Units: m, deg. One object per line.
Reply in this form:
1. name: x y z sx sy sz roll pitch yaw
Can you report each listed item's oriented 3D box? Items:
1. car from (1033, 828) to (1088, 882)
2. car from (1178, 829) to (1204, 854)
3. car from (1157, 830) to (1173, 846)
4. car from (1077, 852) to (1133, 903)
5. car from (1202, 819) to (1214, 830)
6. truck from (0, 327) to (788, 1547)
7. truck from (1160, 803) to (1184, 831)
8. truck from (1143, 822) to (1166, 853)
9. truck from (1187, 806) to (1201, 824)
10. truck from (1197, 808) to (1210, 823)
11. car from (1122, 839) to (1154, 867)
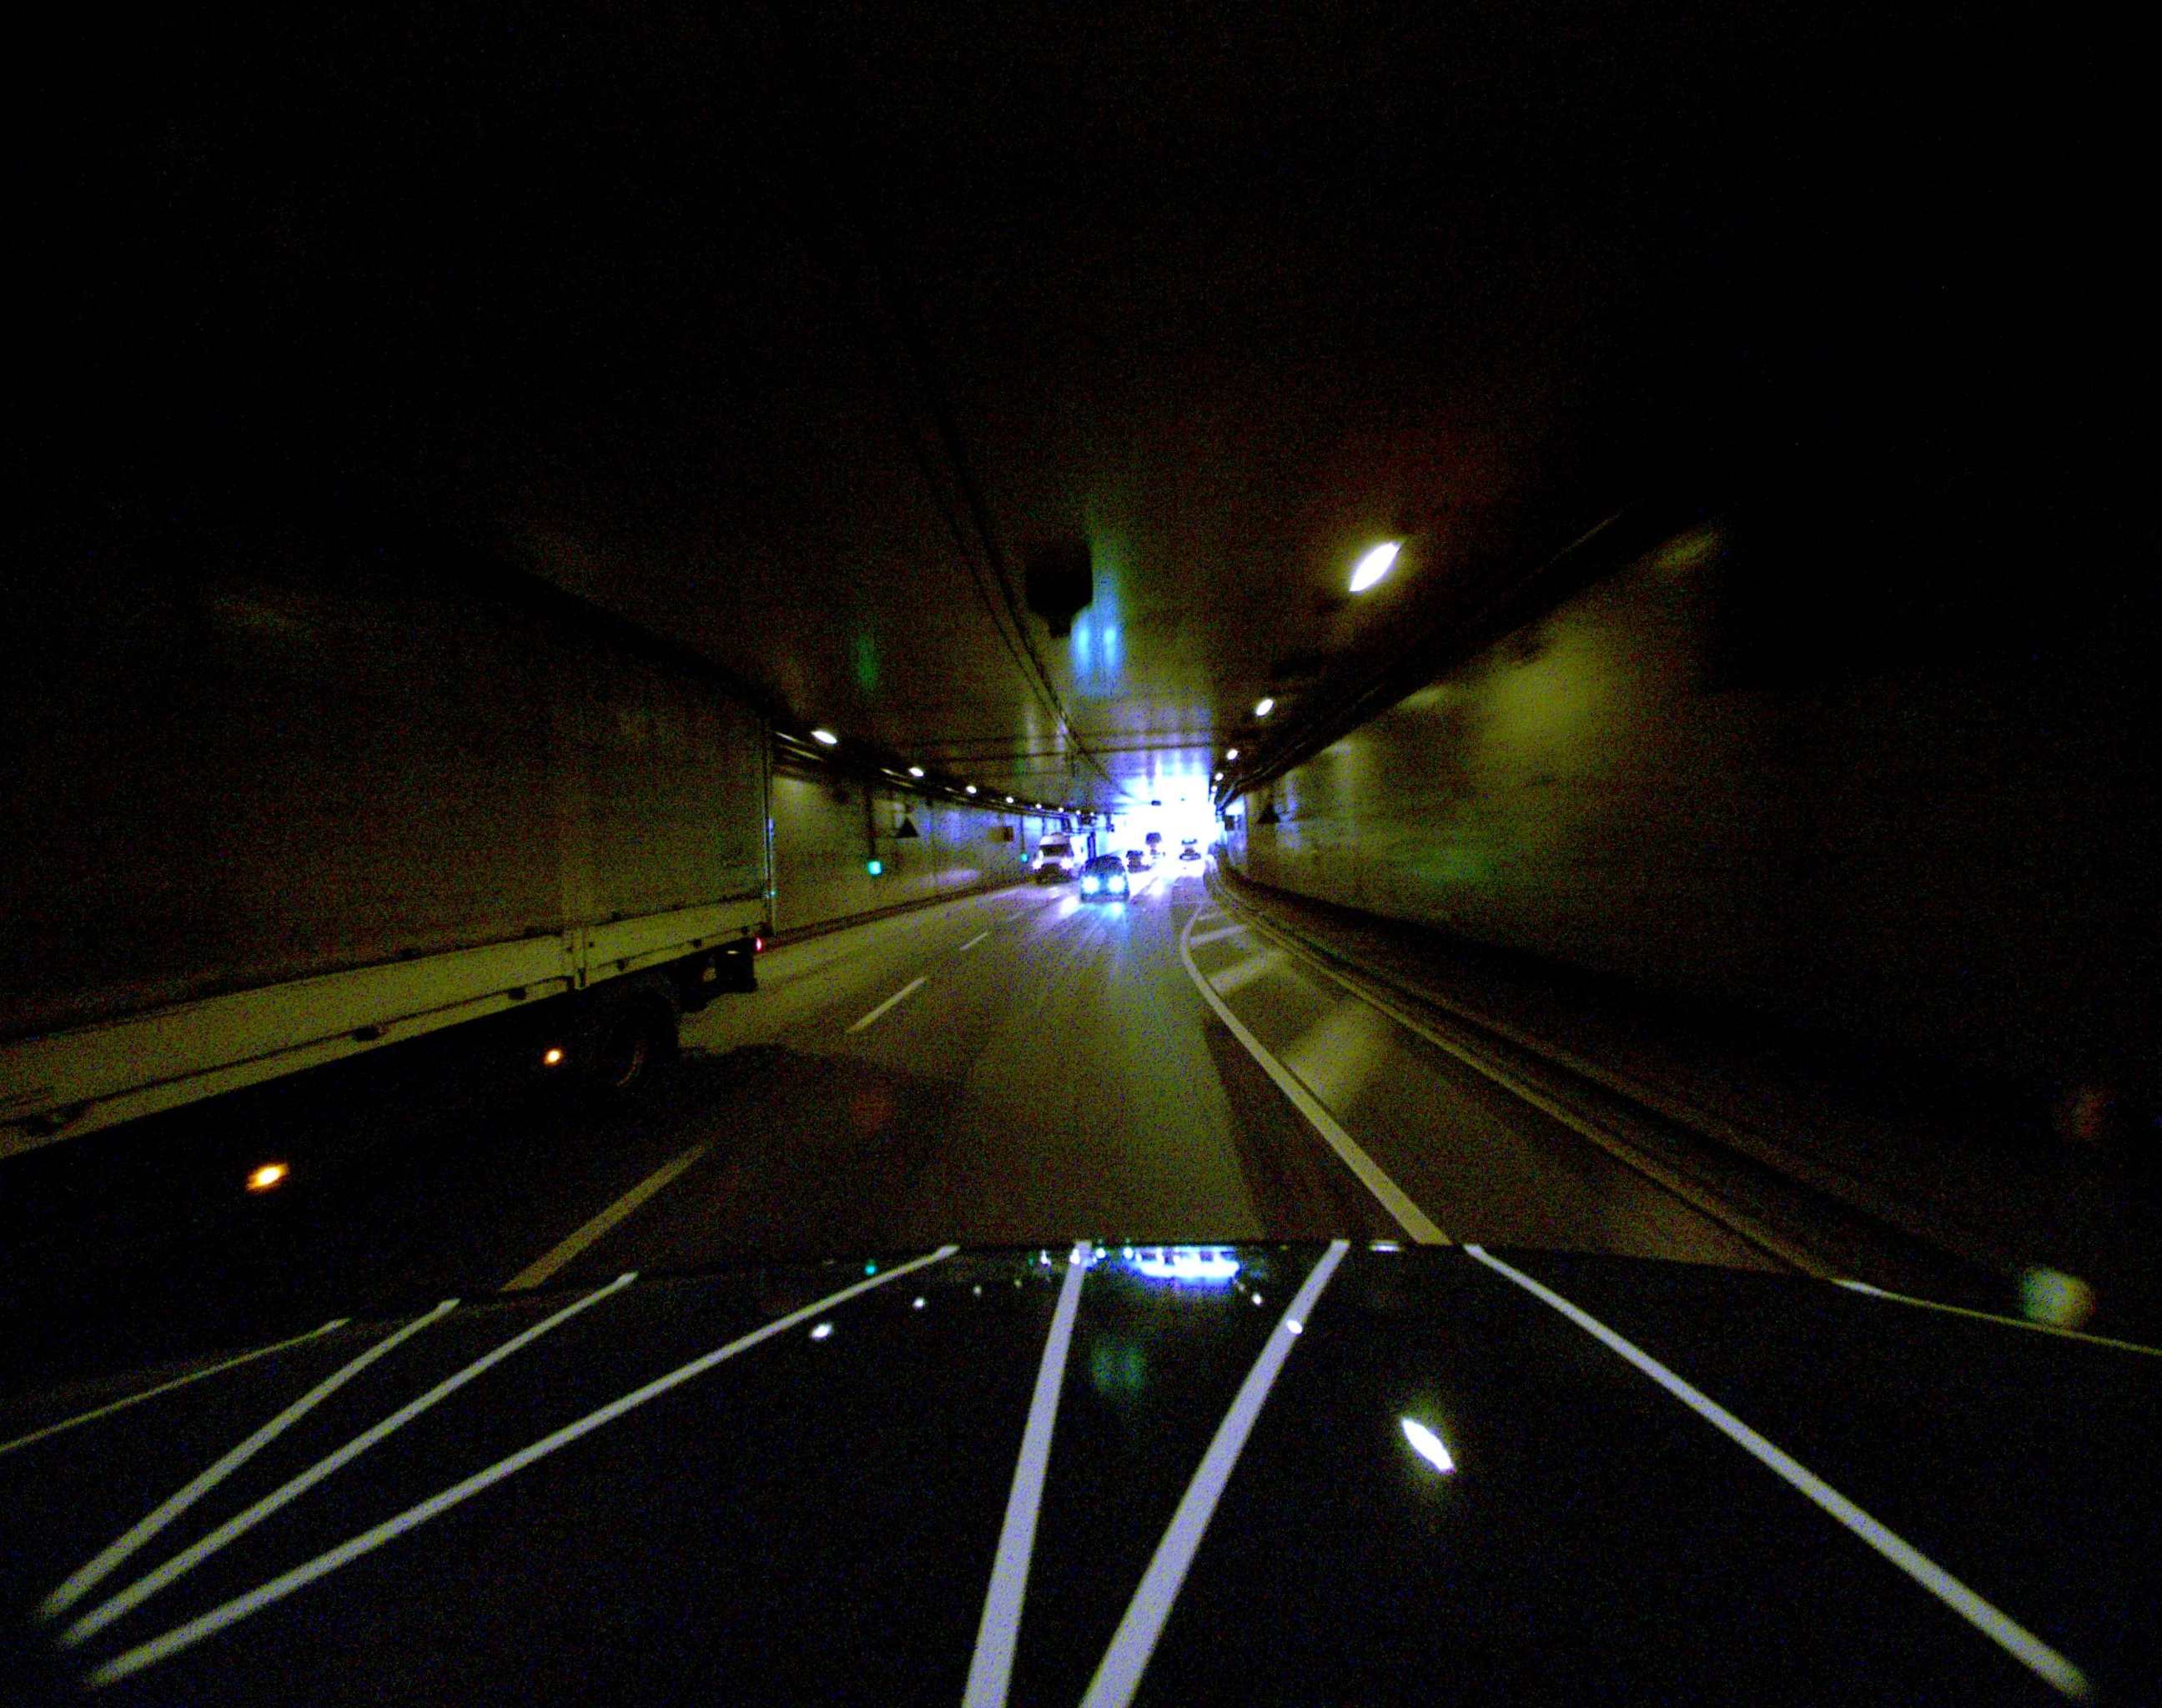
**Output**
1. car: -1.061 -0.062 44.250 2.105 2.831 6.862 -3 2 7
2. car: 9.734 -1.162 66.996 1.934 1.919 4.198 -4 2 12
3. car: 10.617 -2.068 95.896 1.638 1.662 3.716 -4 4 12
4. car: 0.929 0.775 27.239 1.638 1.552 3.717 -5 0 5
5. car: 22.777 -5.339 136.520 1.949 1.526 3.999 -5 5 11
6. truck: -4.068 0.231 3.298 2.560 3.162 7.245 -2 0 1
7. truck: 16.450 -6.760 136.889 2.884 4.449 10.455 -4 4 13
8. truck: 7.371 -1.704 75.845 2.073 2.526 6.022 -5 4 7
9. truck: 24.423 -8.510 164.382 2.492 3.371 6.377 -4 4 12
10. truck: 24.737 -7.785 153.439 2.137 2.714 5.671 -4 4 12
11. car: 4.006 -0.091 52.619 1.763 1.552 3.819 -4 3 10
